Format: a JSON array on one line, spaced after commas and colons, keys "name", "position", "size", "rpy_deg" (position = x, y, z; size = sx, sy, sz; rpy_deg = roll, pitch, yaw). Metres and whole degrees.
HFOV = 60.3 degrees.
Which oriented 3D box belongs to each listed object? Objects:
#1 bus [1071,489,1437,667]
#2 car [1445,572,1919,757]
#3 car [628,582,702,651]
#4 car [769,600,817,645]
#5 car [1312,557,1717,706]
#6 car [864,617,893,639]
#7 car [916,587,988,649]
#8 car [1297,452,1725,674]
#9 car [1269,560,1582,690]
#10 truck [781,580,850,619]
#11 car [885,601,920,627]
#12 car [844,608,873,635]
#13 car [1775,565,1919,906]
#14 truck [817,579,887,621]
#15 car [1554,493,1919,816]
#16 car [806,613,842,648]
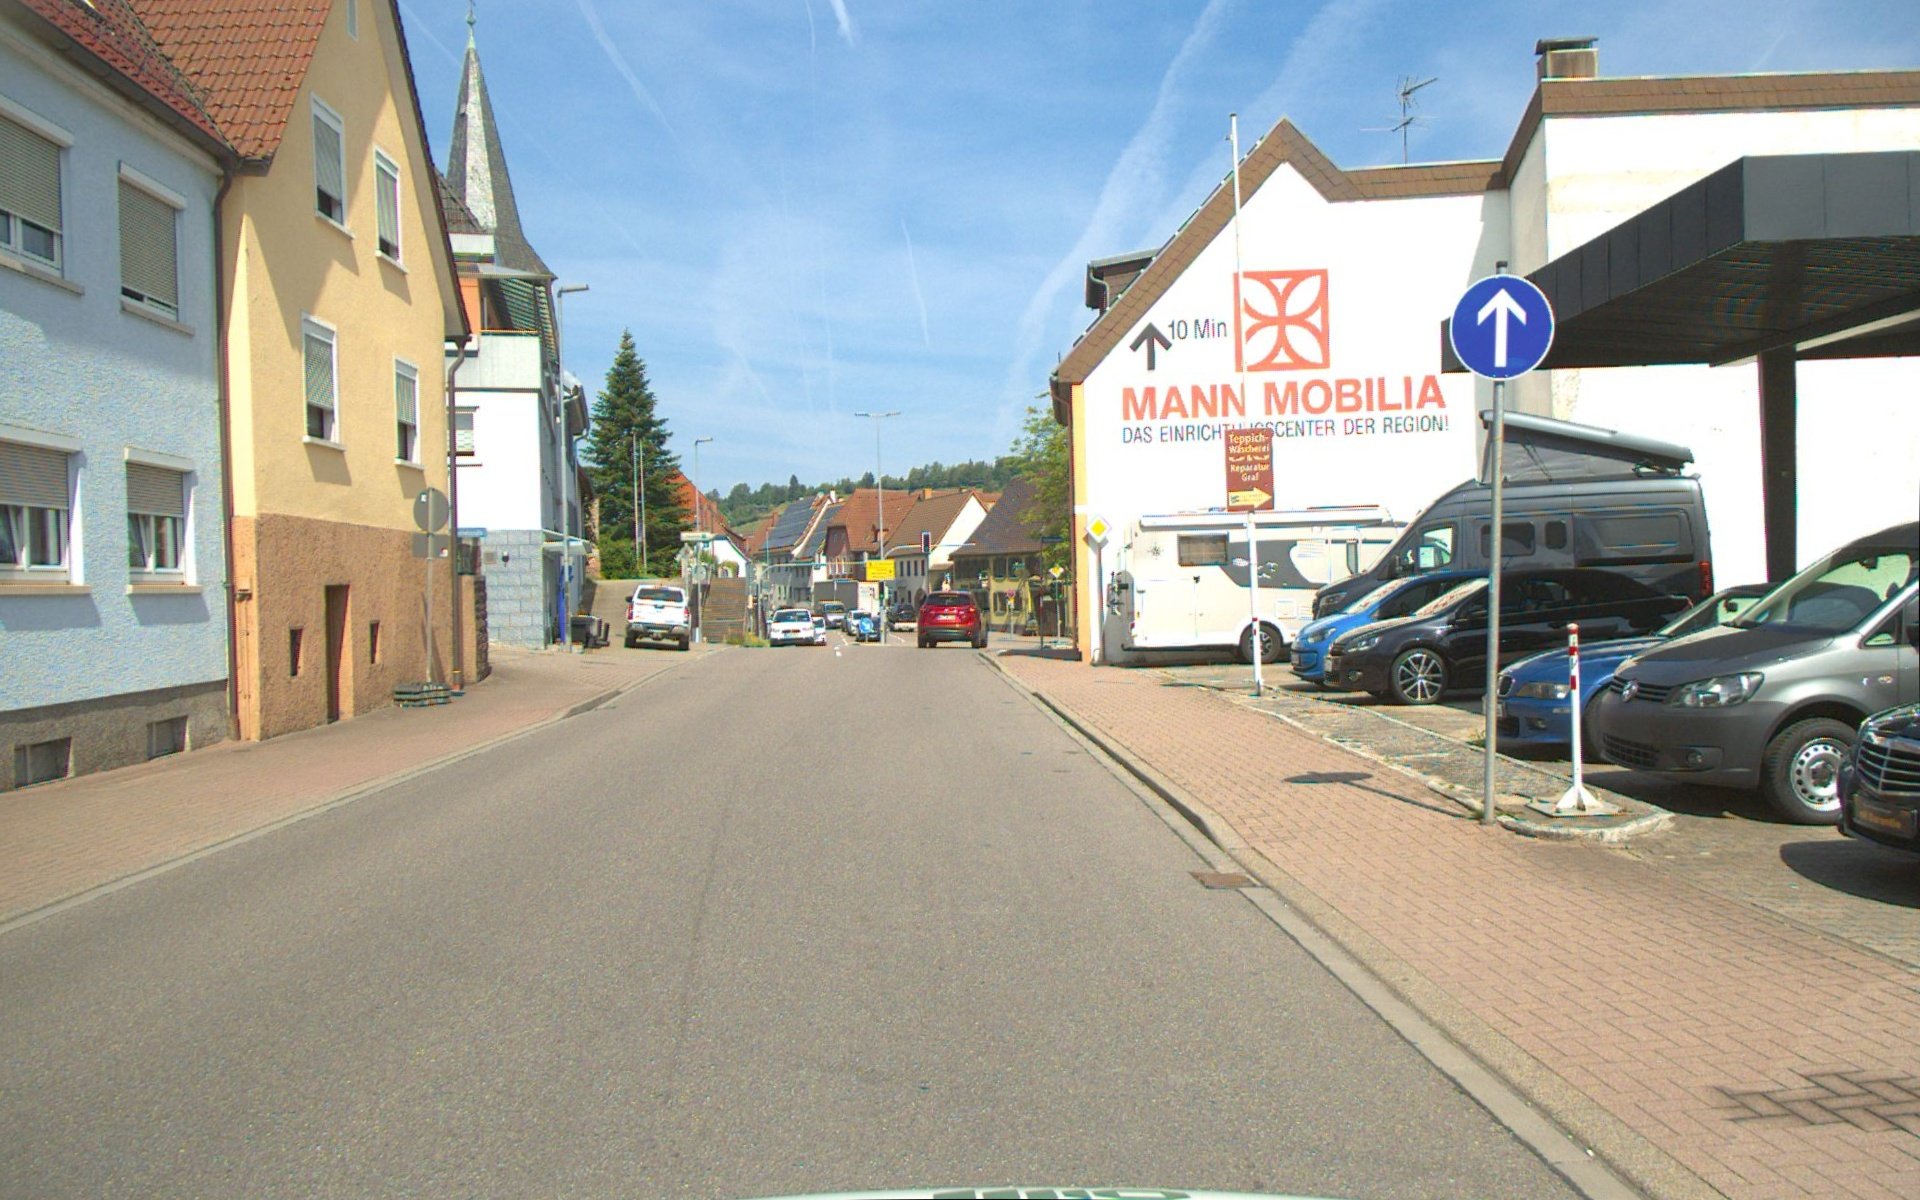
[{"name": "bus", "position": [5.411, -0.386, 31.201], "size": [6.430, 2.956, 2.230], "rpy_deg": [-2, -1, 1]}, {"name": "car", "position": [6.411, 0.463, 13.303], "size": [4.444, 1.289, 1.966], "rpy_deg": [-2, 0, 2]}, {"name": "car", "position": [-8.600, 0.445, 48.608], "size": [1.770, 1.829, 5.278], "rpy_deg": [2, 0, -7]}, {"name": "car", "position": [-6.341, 0.838, 62.457], "size": [1.696, 1.569, 3.806], "rpy_deg": [-2, 1, -7]}, {"name": "car", "position": [6.274, 0.339, 19.047], "size": [4.074, 1.507, 1.728], "rpy_deg": [-2, 0, 2]}, {"name": "car", "position": [-5.627, 1.936, 114.968], "size": [1.783, 1.459, 4.248], "rpy_deg": [-1, 0, 0]}, {"name": "car", "position": [-0.205, 0.501, 48.955], "size": [1.766, 1.692, 3.814], "rpy_deg": [-2, 0, 4]}, {"name": "car", "position": [8.277, -0.496, 25.202], "size": [5.835, 3.039, 2.318], "rpy_deg": [-2, 0, 19]}, {"name": "car", "position": [6.221, 0.314, 22.328], "size": [3.724, 1.555, 1.581], "rpy_deg": [-2, 0, -4]}, {"name": "truck", "position": [-13.842, 0.035, 157.729], "size": [3.119, 3.521, 10.627], "rpy_deg": [1, -1, -25]}, {"name": "car", "position": [-4.701, 1.149, 134.726], "size": [1.818, 2.049, 3.978], "rpy_deg": [1, 0, -19]}, {"name": "car", "position": [-7.948, 1.656, 129.179], "size": [1.787, 1.939, 4.954], "rpy_deg": [-1, 1, -9]}, {"name": "car", "position": [6.576, 0.537, 7.756], "size": [4.539, 1.524, 1.911], "rpy_deg": [-2, 0, 2]}, {"name": "truck", "position": [-9.793, 0.007, 148.712], "size": [3.182, 3.611, 9.158], "rpy_deg": [1, 0, -25]}, {"name": "car", "position": [6.425, 0.236, 10.565], "size": [4.539, 1.841, 1.966], "rpy_deg": [-2, 2, 2]}, {"name": "car", "position": [-8.077, 1.778, 98.414], "size": [1.929, 1.966, 5.310], "rpy_deg": [-2, 0, -3]}]
